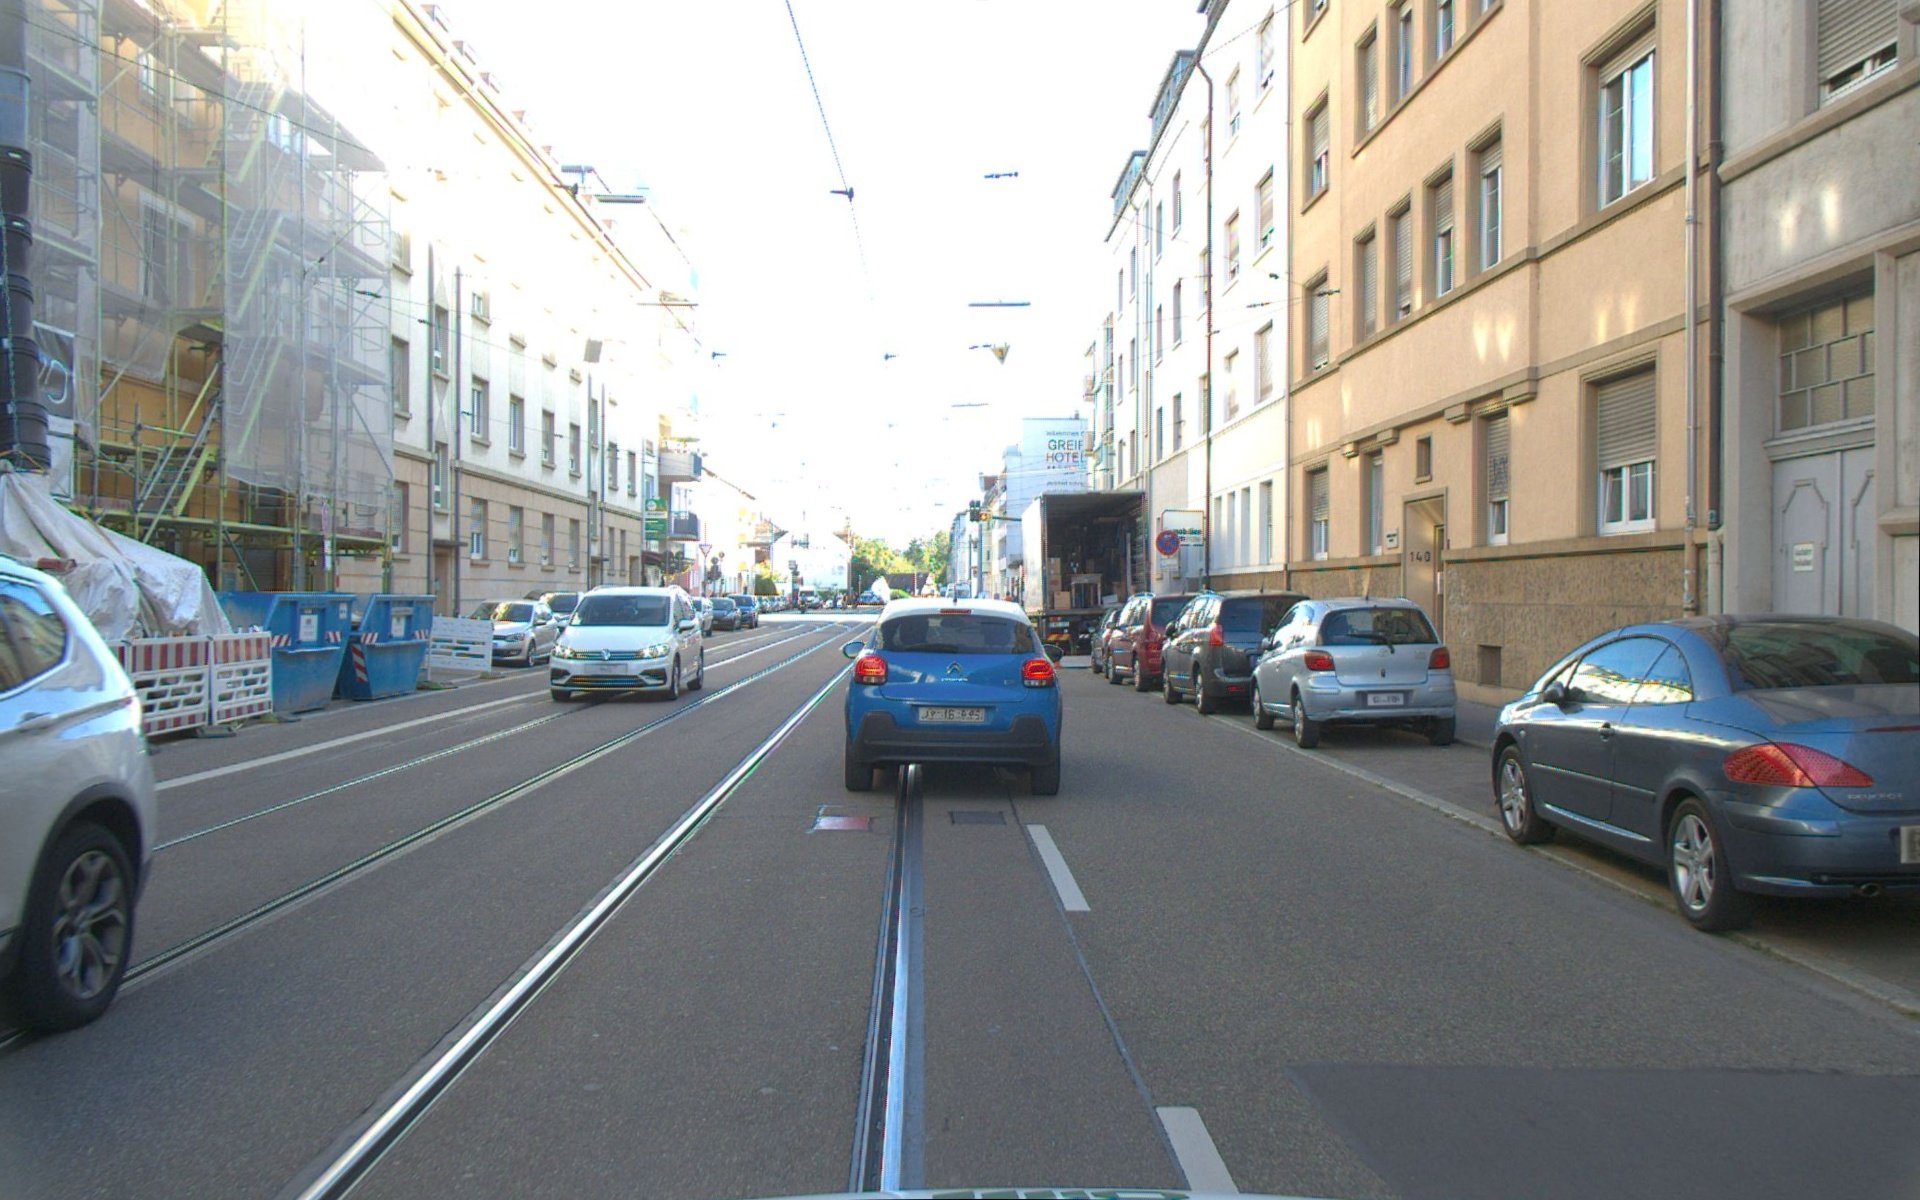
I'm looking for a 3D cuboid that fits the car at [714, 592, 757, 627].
[{"bbox_3d":[-10.952,0.456,80.993,1.790,1.660,3.902,0,0,-4],"label":"car"}]

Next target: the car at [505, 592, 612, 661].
[{"bbox_3d":[-9.983,0.623,41.385,1.679,1.621,4.266,0,0,-1],"label":"car"}]

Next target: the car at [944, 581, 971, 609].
[{"bbox_3d":[-0.236,-0.412,136.918,2.175,2.324,4.083,0,0,-1],"label":"car"}]

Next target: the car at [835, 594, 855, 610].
[{"bbox_3d":[-11.180,0.215,160.563,1.729,1.513,4.031,0,0,-1],"label":"car"}]

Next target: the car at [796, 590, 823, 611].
[{"bbox_3d":[-12.021,0.047,132.297,1.863,1.660,4.266,0,0,-1],"label":"car"}]

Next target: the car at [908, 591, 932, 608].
[{"bbox_3d":[-3.614,-0.018,150.465,2.136,1.513,4.159,0,0,-1],"label":"car"}]

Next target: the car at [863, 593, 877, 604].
[{"bbox_3d":[-12.853,-0.238,236.127,1.729,1.513,4.031,0,0,-1],"label":"car"}]

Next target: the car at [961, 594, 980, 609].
[{"bbox_3d":[1.039,0.116,166.168,1.729,1.513,4.031,0,0,-1],"label":"car"}]

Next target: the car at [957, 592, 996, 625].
[{"bbox_3d":[0.758,0.386,78.227,1.729,1.513,4.031,0,0,-1],"label":"car"}]

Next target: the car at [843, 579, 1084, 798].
[{"bbox_3d":[-0.011,0.630,13.980,1.700,1.533,3.991,2,0,-1],"label":"car"}]

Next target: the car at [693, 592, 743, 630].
[{"bbox_3d":[-10.914,0.476,74.723,1.789,1.660,3.904,0,0,-2],"label":"car"}]

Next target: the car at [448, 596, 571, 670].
[{"bbox_3d":[-9.914,0.688,36.696,1.679,1.544,4.046,0,0,-1],"label":"car"}]

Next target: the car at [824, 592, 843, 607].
[{"bbox_3d":[-13.482,-0.055,176.722,1.729,1.513,4.031,0,0,-1],"label":"car"}]

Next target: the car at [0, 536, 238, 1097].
[{"bbox_3d":[-3.730,0.649,4.301,1.789,1.660,4.489,0,0,-1],"label":"car"}]

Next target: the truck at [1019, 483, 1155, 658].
[{"bbox_3d":[3.224,-0.742,45.090,2.795,4.154,11.270,0,0,0],"label":"truck"}]

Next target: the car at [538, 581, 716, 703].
[{"bbox_3d":[-4.895,0.571,24.890,1.863,1.660,4.266,0,0,-1],"label":"car"}]

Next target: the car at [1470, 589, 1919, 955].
[{"bbox_3d":[4.296,0.700,8.985,1.687,1.513,4.221,0,0,-1],"label":"car"}]

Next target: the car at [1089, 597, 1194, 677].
[{"bbox_3d":[3.647,0.704,33.811,1.630,1.513,4.031,0,0,-1],"label":"car"}]

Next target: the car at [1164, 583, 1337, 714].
[{"bbox_3d":[3.991,0.609,23.319,1.630,1.676,4.221,0,0,-1],"label":"car"}]

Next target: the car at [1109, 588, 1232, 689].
[{"bbox_3d":[3.661,0.622,29.331,1.630,1.661,3.870,0,0,-1],"label":"car"}]

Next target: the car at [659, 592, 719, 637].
[{"bbox_3d":[-10.529,0.542,64.581,1.789,1.660,3.904,0,0,-2],"label":"car"}]

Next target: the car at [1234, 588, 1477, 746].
[{"bbox_3d":[4.265,0.652,18.481,1.630,1.546,4.221,0,0,-1],"label":"car"}]
